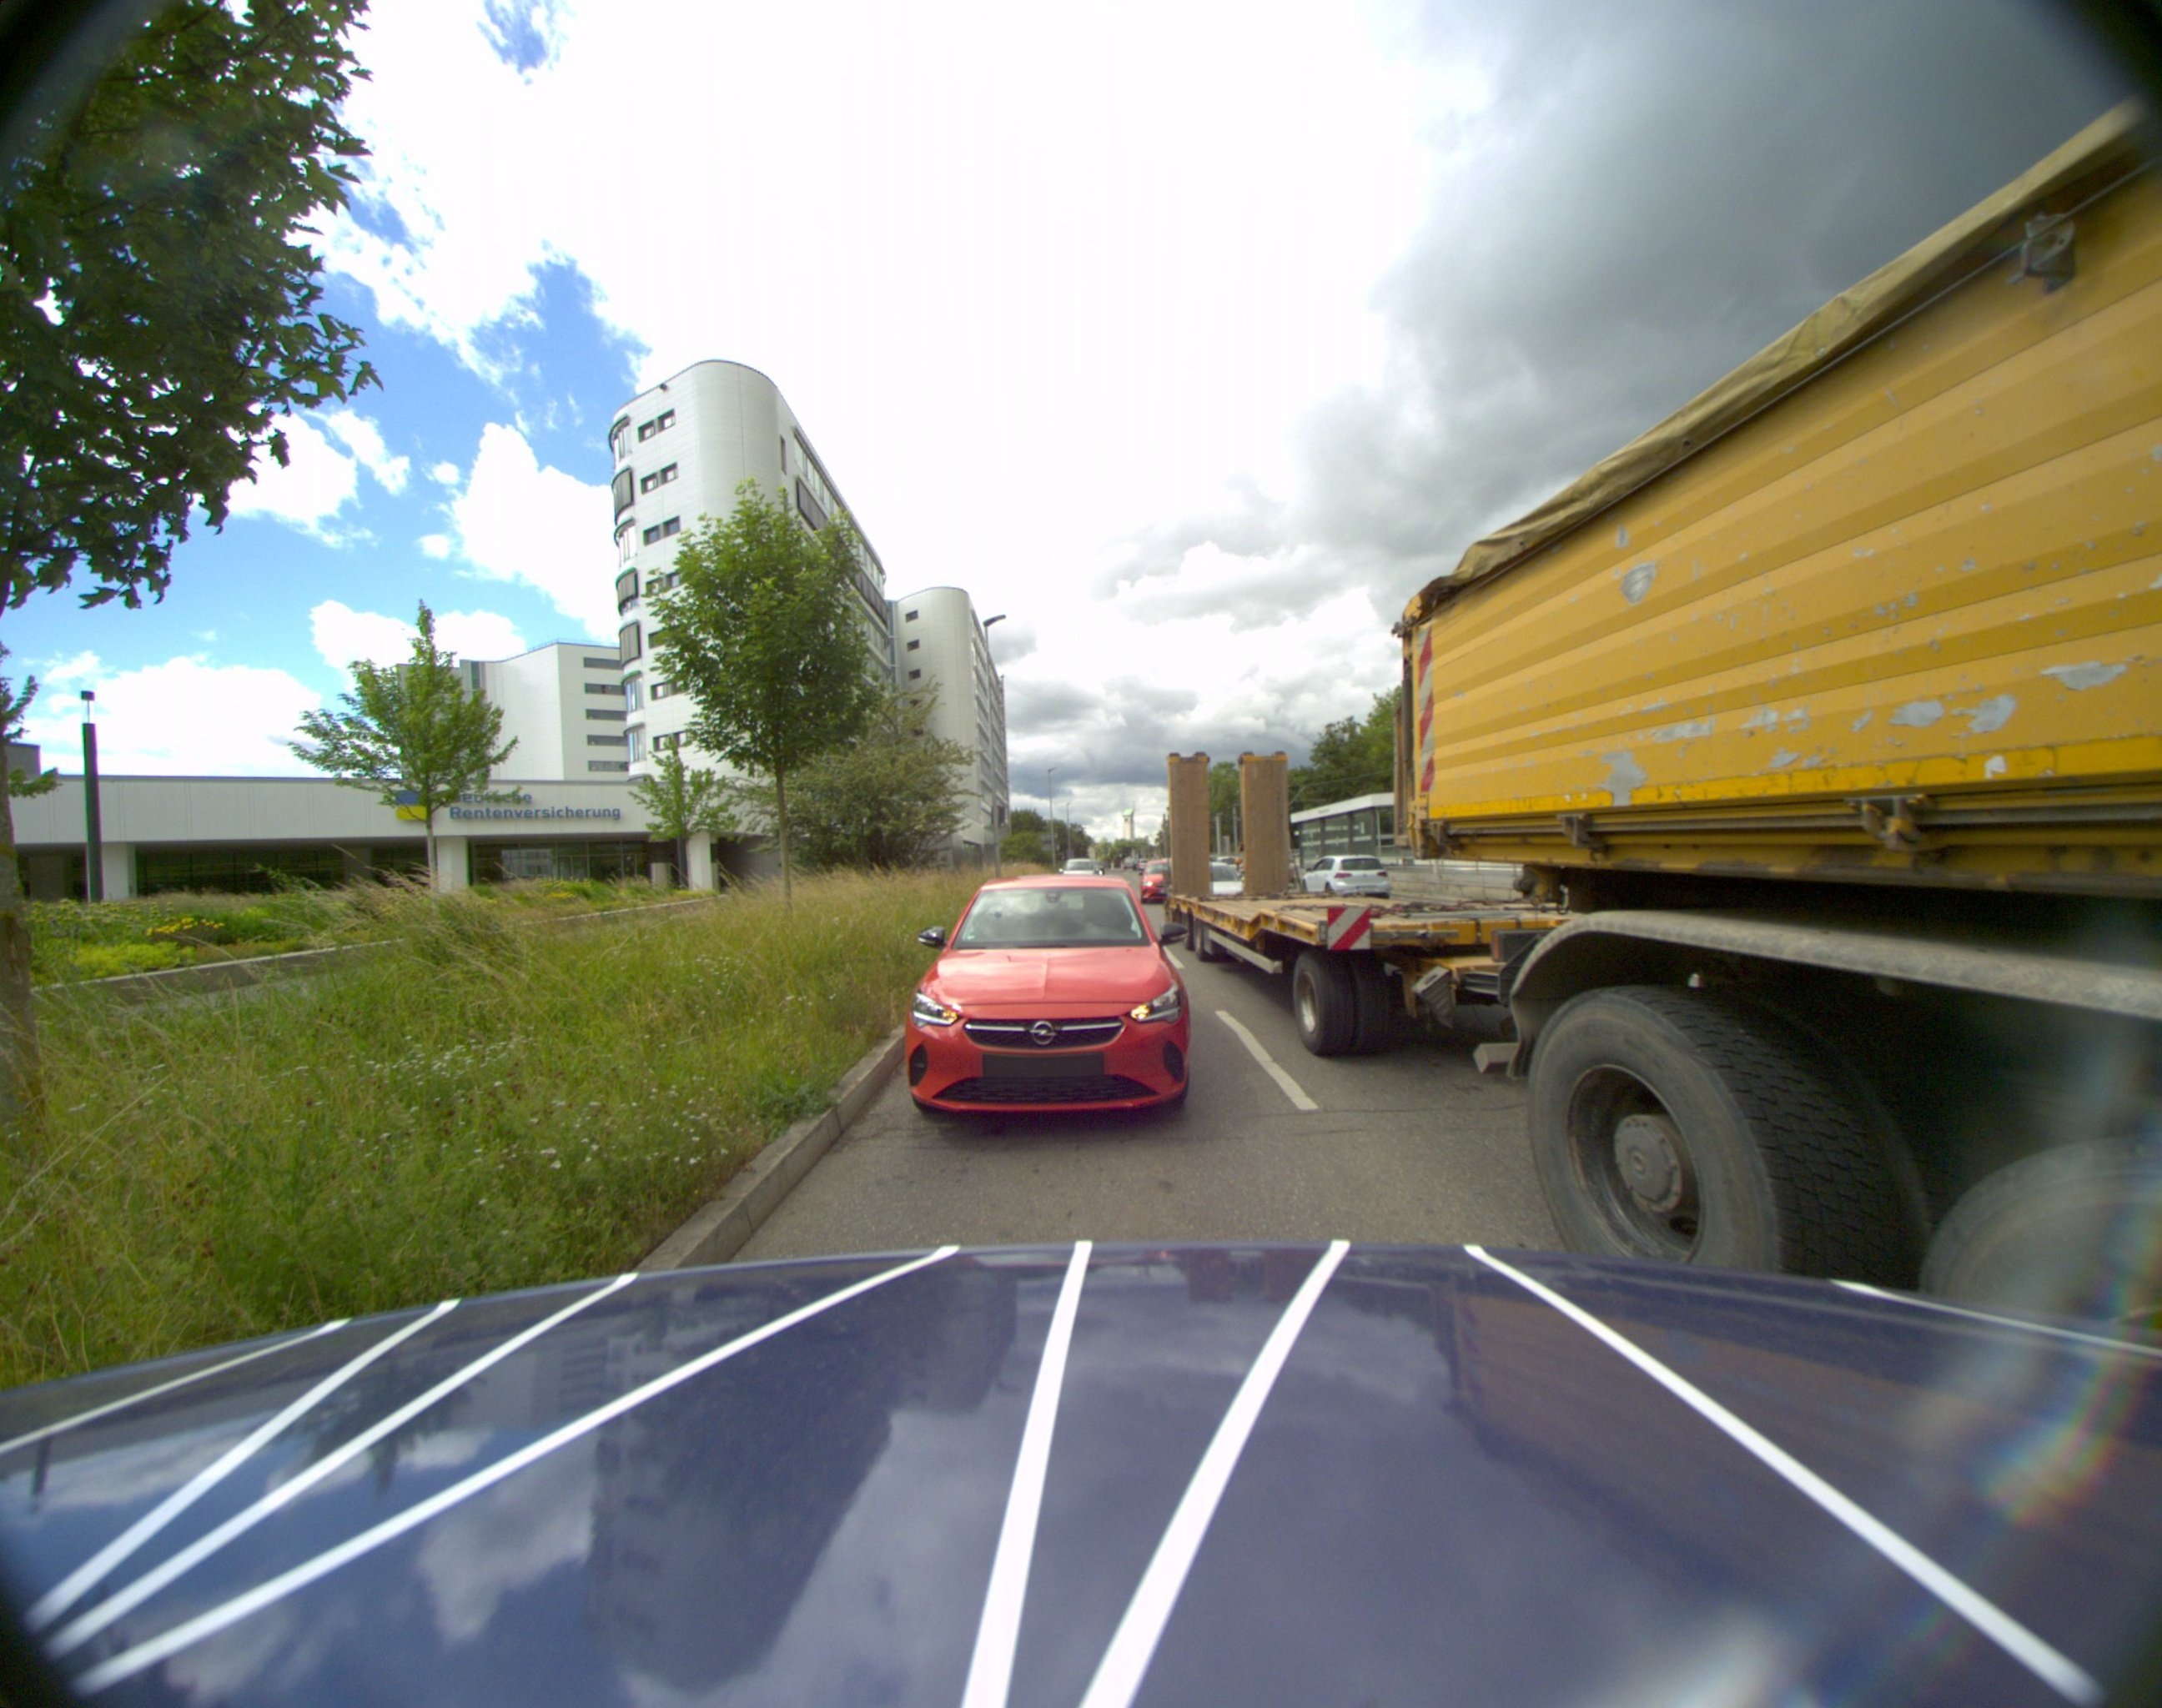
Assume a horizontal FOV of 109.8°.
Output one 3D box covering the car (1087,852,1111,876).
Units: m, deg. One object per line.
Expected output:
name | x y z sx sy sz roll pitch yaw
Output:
car | 1.546 0.870 66.668 1.998 2.002 4.000 -2 0 1

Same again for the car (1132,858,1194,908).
car | 2.733 0.934 26.156 1.692 1.471 3.999 -2 1 1

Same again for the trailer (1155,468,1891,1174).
trailer | 2.792 -0.158 9.332 2.713 3.501 10.914 -2 0 1

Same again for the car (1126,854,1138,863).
car | 8.680 0.713 128.556 1.770 1.489 3.554 -2 0 1

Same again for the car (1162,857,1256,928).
car | 3.114 0.880 19.210 1.692 1.471 3.999 -2 1 1

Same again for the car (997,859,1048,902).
car | -2.313 1.013 30.658 1.738 1.565 3.445 -2 0 0

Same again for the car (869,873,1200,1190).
car | -0.220 0.995 6.016 1.692 1.471 3.999 -2 1 1

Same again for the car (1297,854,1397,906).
car | 8.196 0.756 23.799 1.766 1.432 4.279 -2 0 2

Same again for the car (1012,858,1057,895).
car | -2.182 1.020 36.480 1.850 1.565 4.623 -2 0 0

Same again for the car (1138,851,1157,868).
car | 8.500 0.724 97.572 1.998 2.002 4.000 -2 0 1

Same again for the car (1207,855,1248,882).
car | 8.626 0.823 44.935 1.705 1.449 3.566 -2 0 1

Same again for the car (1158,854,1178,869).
car | 8.785 0.761 76.701 1.644 1.489 3.554 -2 0 1

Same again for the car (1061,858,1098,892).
car | -0.081 1.024 37.800 1.738 1.565 3.445 -2 0 0

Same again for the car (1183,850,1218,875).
car | 8.989 0.651 57.673 1.887 1.761 4.864 -2 0 1
